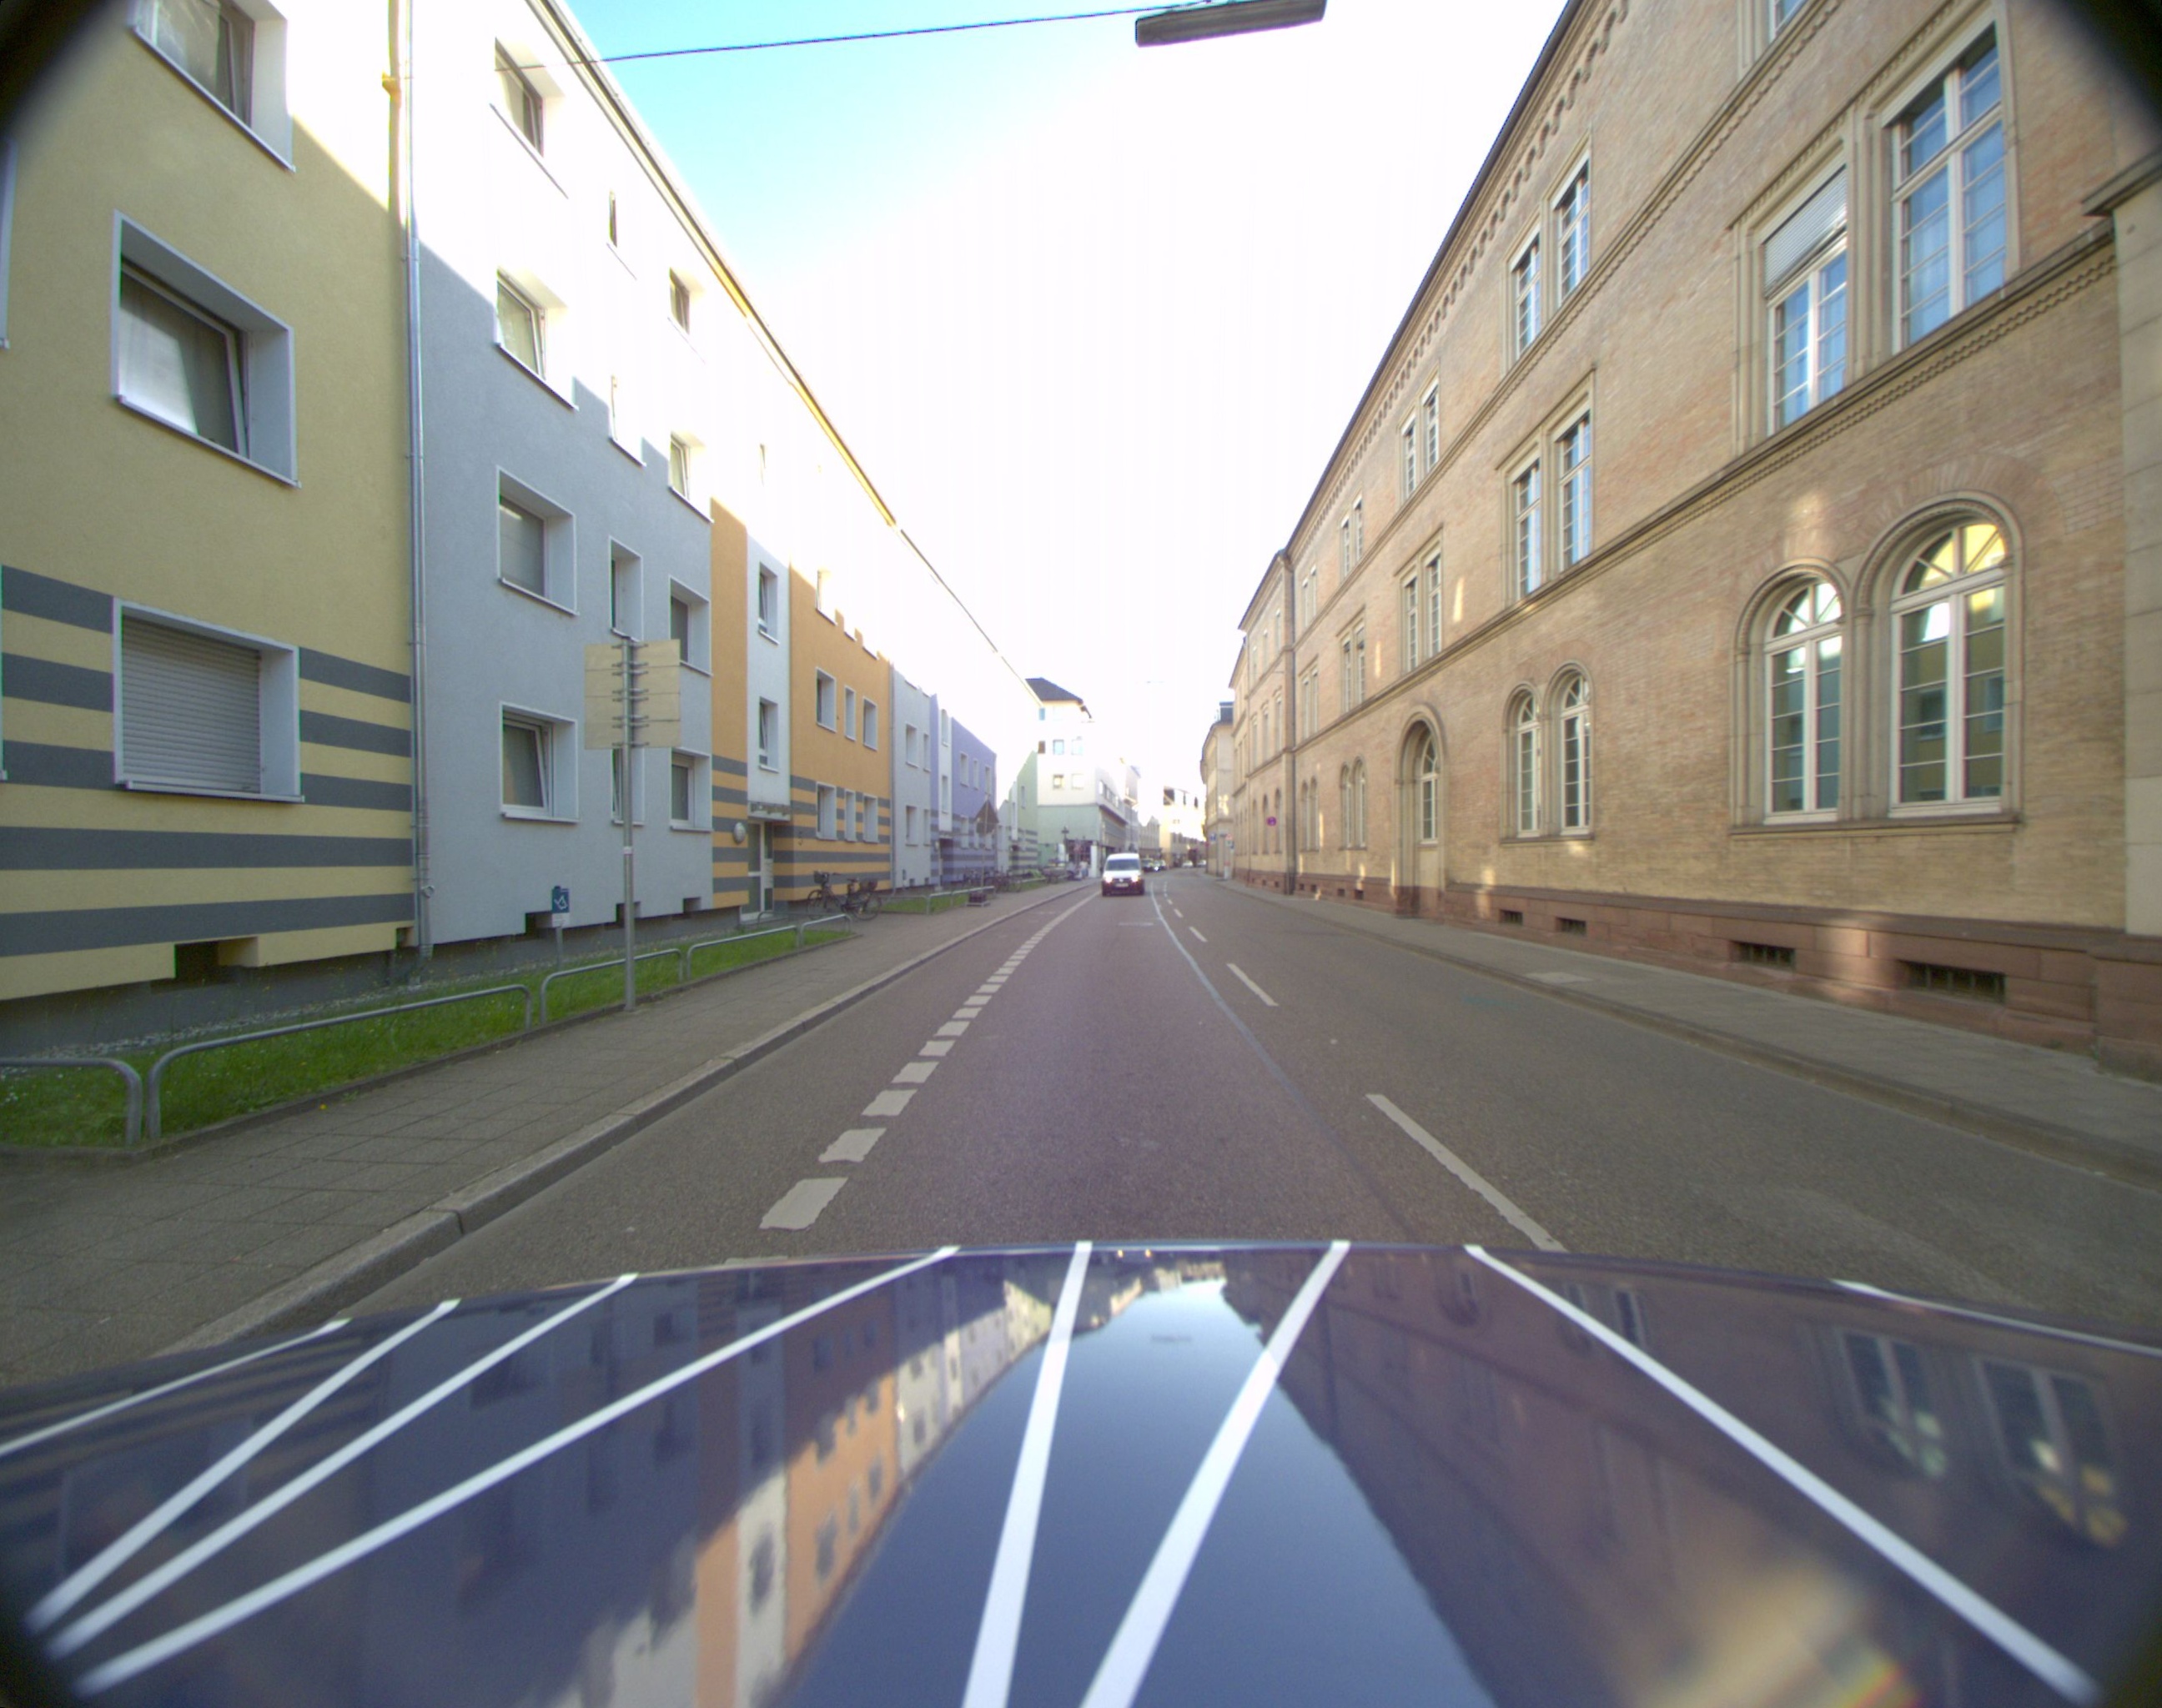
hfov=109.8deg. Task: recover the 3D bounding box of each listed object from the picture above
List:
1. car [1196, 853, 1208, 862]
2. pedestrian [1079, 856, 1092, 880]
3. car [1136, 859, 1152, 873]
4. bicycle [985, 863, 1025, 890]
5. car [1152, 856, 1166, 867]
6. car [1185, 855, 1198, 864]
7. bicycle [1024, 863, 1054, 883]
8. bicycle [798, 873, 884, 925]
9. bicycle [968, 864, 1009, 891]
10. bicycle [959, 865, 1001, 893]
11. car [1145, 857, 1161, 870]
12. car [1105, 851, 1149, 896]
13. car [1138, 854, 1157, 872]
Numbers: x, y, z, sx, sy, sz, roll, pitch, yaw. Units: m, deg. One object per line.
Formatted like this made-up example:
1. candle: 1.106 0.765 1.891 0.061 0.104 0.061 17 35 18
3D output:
1. car: 26.091 0.761 163.757 1.996 1.643 4.233 -2 1 17
2. pedestrian: 0.314 0.958 52.621 0.705 1.627 0.833 2 2 5
3. car: 8.378 1.578 100.957 1.998 1.643 4.230 -2 1 6
4. bicycle: -3.372 0.997 33.684 1.676 1.145 0.484 0 0 4
5. car: 12.647 1.165 122.704 1.997 1.643 4.231 -2 1 9
6. car: 22.108 1.049 152.026 1.996 1.643 4.233 -2 1 17
7. bicycle: -2.516 1.144 46.055 1.779 1.145 0.484 0 0 0
8. bicycle: -5.385 1.011 17.108 1.780 1.116 0.484 0 0 -5
9. bicycle: -4.031 1.014 33.138 1.676 1.145 0.484 0 0 4
10. bicycle: -4.236 1.041 31.844 1.676 1.145 0.484 0 0 4
11. car: 10.676 1.410 113.005 1.997 1.643 4.231 -2 1 10
12. car: 2.033 0.774 33.651 1.769 1.761 5.332 -1 1 3
13. car: 9.413 1.219 107.092 2.103 2.264 5.506 -2 1 11
